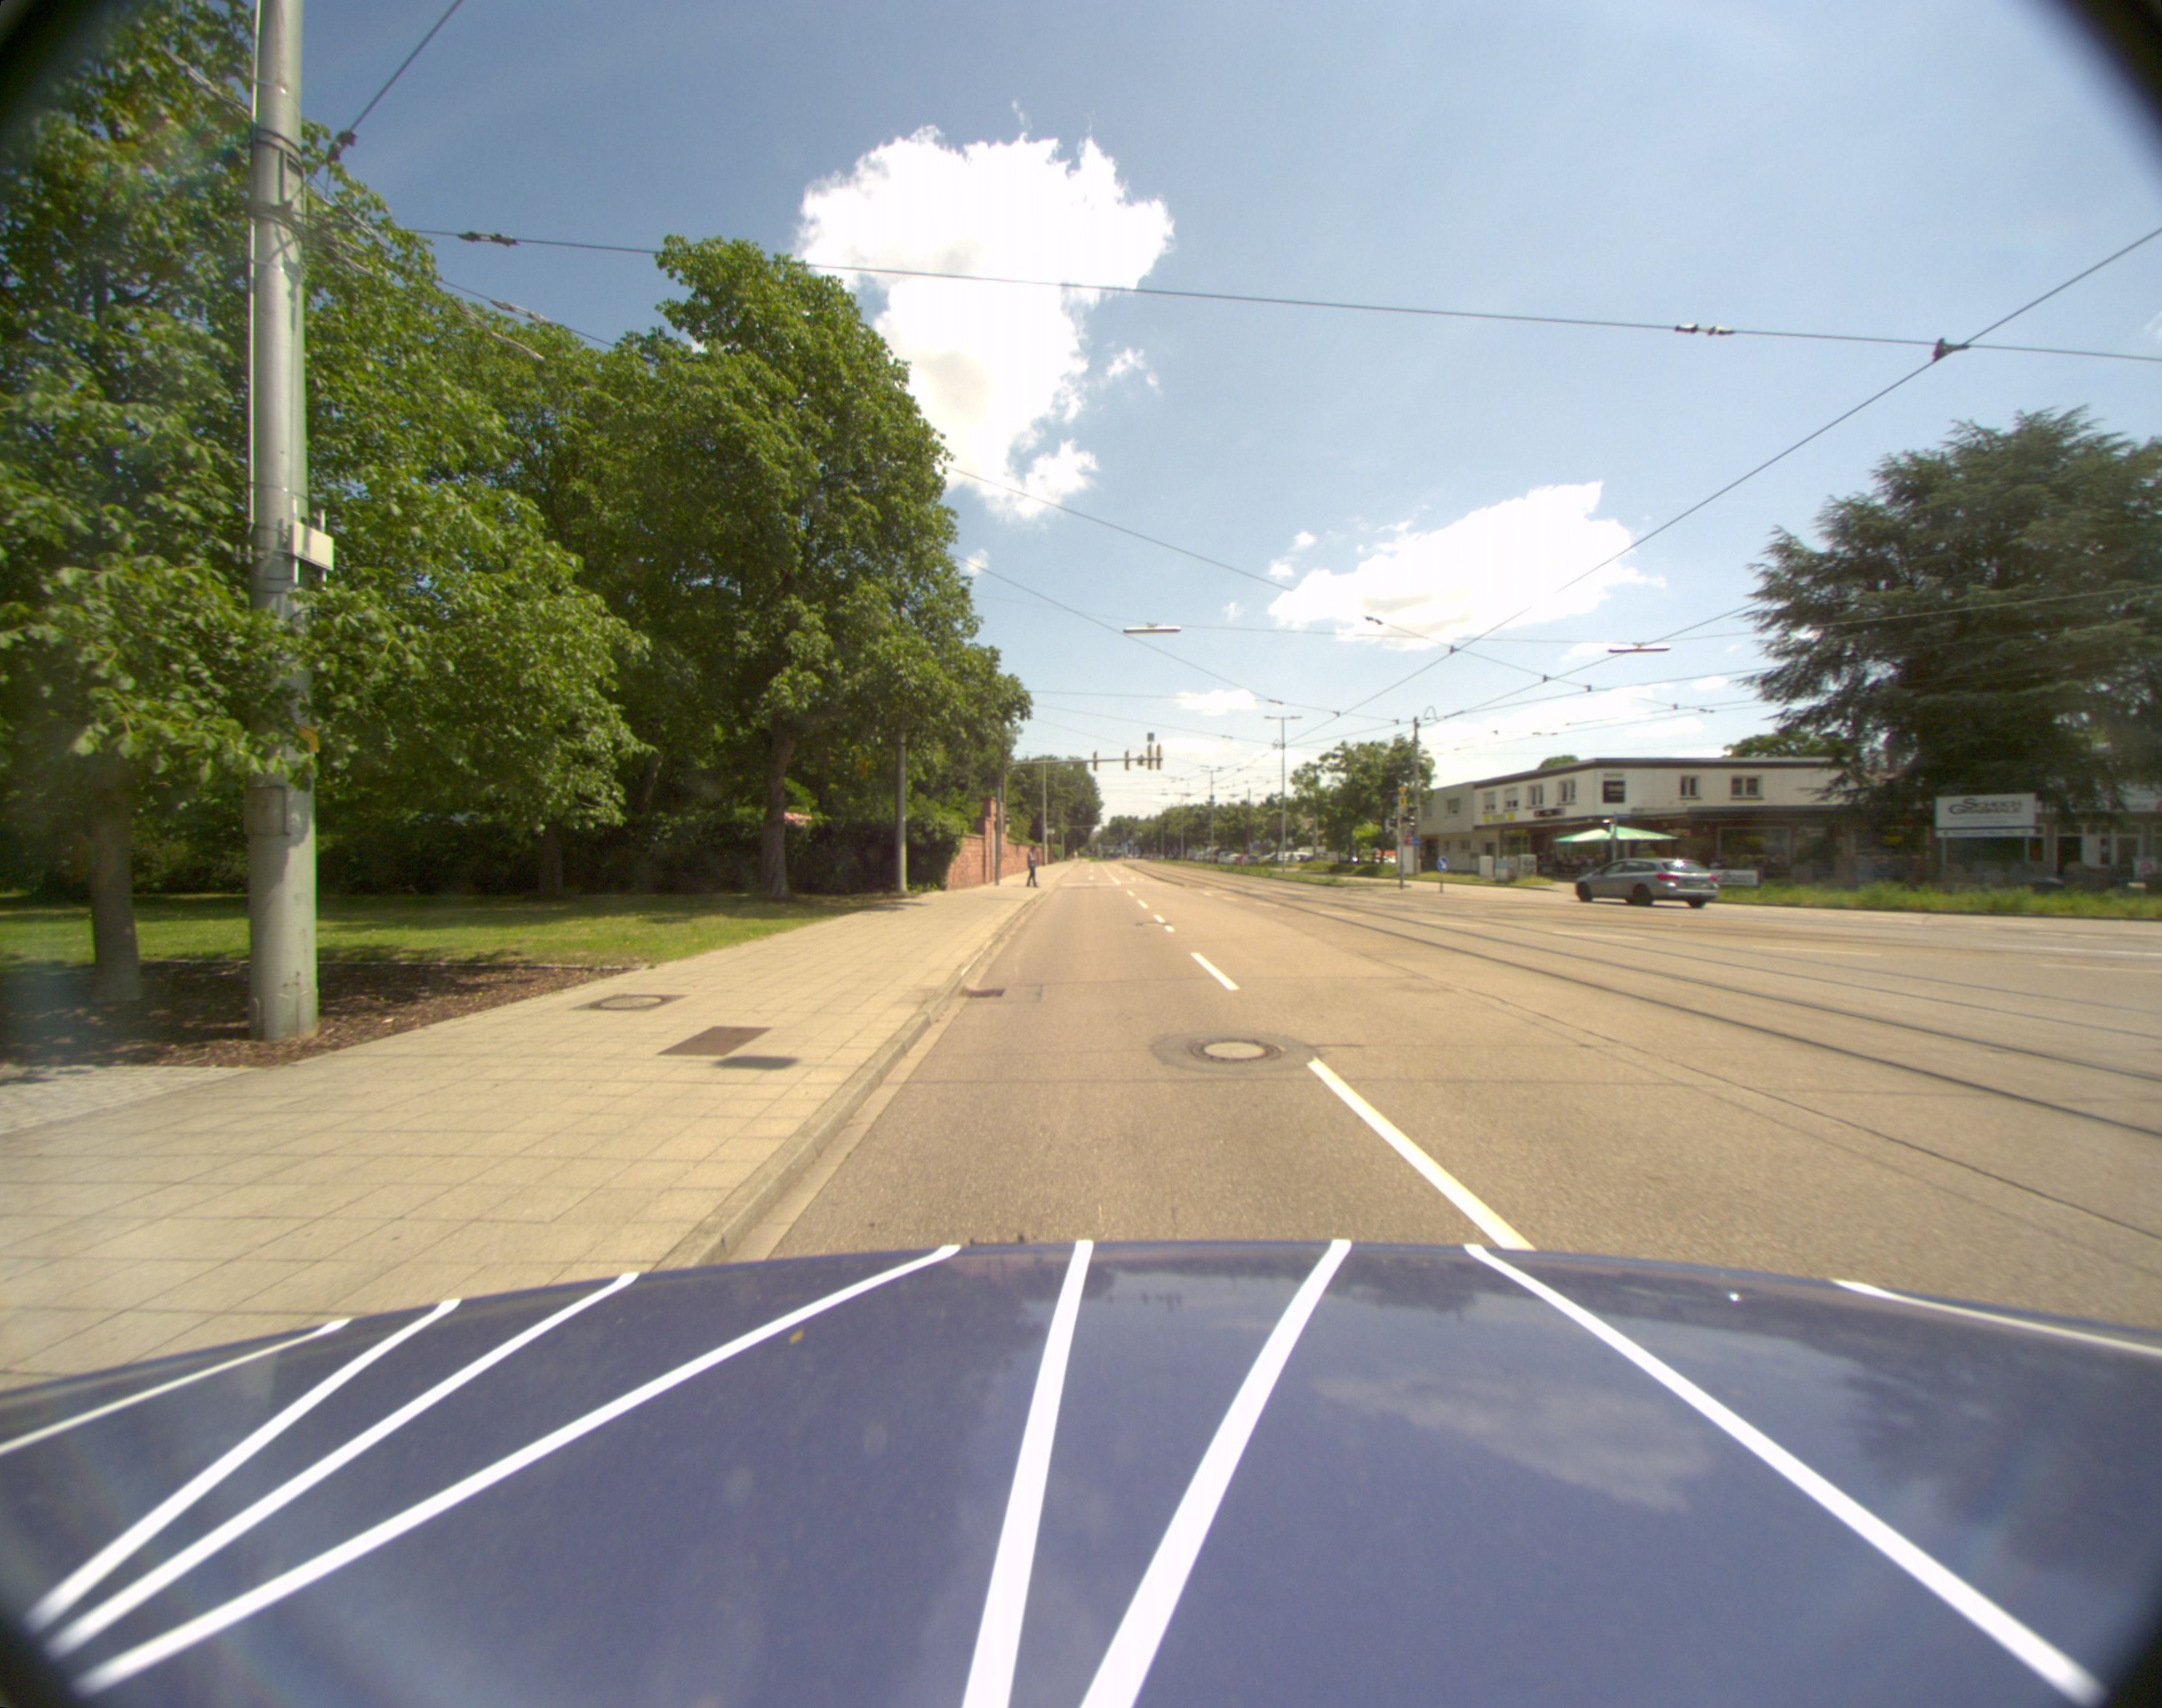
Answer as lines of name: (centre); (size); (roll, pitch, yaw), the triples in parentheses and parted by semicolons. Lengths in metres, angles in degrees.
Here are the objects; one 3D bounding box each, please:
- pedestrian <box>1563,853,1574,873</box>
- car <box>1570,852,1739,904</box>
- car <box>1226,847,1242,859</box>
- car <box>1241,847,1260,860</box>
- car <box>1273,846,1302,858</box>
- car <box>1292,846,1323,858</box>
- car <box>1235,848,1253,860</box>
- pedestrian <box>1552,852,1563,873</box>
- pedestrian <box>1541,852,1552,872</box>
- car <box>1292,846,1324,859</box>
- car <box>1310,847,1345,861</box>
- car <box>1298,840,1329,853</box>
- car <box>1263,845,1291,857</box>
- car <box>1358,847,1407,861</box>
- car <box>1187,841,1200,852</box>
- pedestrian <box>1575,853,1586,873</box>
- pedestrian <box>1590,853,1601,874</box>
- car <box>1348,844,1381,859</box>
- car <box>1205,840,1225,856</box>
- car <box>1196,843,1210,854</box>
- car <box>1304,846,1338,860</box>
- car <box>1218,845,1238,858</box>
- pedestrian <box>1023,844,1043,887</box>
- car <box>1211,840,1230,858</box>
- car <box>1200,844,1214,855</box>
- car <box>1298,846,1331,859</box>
pedestrian: (30.040, 0.550, 46.845); (0.319, 1.261, 0.501); (1, 1, 2)
car: (17.793, 0.675, 23.905); (1.998, 1.463, 4.401); (1, 0, 0)
car: (21.540, -0.114, 107.344); (1.502, 1.531, 4.359); (-1, 1, 2)
car: (21.703, -0.074, 97.386); (1.580, 1.531, 4.550); (-2, 1, 2)
car: (31.993, -0.347, 118.033); (3.996, 1.726, 1.803); (2, 2, 2)
car: (33.501, -0.259, 112.388); (3.996, 1.726, 1.903); (1, 1, 2)
car: (21.966, -0.032, 102.736); (1.503, 1.531, 3.648); (-2, 1, -2)
pedestrian: (30.090, 0.538, 47.969); (0.345, 1.261, 0.528); (1, 1, 4)
pedestrian: (30.089, 0.507, 49.103); (0.354, 1.261, 0.533); (1, 1, 2)
car: (32.825, -0.222, 109.935); (3.996, 1.726, 1.803); (2, 2, 2)
car: (32.126, 0.022, 99.218); (3.996, 1.726, 1.879); (1, 1, 2)
car: (47.206, -1.546, 154.297); (5.698, 2.467, 2.259); (1, 1, -2)
car: (32.651, -0.486, 126.448); (4.199, 1.726, 1.803); (2, 2, 2)
car: (32.152, 0.007, 81.044); (4.484, 1.426, 1.907); (0, 1, 4)
car: (23.037, -1.582, 155.790); (2.071, 2.089, 4.488); (-2, 1, -1)
pedestrian: (30.971, 0.534, 47.103); (0.387, 1.239, 0.401); (1, 1, 2)
pedestrian: (30.769, 0.572, 45.474); (0.341, 1.261, 0.452); (1, 1, 4)
car: (46.525, -0.463, 124.796); (4.652, 2.212, 1.851); (2, 2, -2)
car: (22.542, -1.049, 128.169); (2.156, 2.597, 6.703); (-2, 1, 0)
car: (23.024, -1.110, 143.575); (1.795, 1.928, 4.488); (-2, 1, -1)
car: (32.120, -0.096, 101.739); (3.996, 1.726, 1.803); (2, 2, 2)
car: (22.105, -0.358, 114.154); (2.155, 1.827, 4.888); (-2, 1, 1)
pedestrian: (-2.077, 0.480, 33.022); (0.767, 1.841, 0.717); (0, 2, -11)
car: (22.061, -0.802, 120.055); (2.155, 2.597, 5.033); (-2, 1, 1)
car: (22.712, -0.886, 136.883); (1.794, 1.928, 4.648); (-2, 1, 1)
car: (32.025, -0.174, 104.398); (3.996, 1.726, 1.803); (1, 1, 2)
